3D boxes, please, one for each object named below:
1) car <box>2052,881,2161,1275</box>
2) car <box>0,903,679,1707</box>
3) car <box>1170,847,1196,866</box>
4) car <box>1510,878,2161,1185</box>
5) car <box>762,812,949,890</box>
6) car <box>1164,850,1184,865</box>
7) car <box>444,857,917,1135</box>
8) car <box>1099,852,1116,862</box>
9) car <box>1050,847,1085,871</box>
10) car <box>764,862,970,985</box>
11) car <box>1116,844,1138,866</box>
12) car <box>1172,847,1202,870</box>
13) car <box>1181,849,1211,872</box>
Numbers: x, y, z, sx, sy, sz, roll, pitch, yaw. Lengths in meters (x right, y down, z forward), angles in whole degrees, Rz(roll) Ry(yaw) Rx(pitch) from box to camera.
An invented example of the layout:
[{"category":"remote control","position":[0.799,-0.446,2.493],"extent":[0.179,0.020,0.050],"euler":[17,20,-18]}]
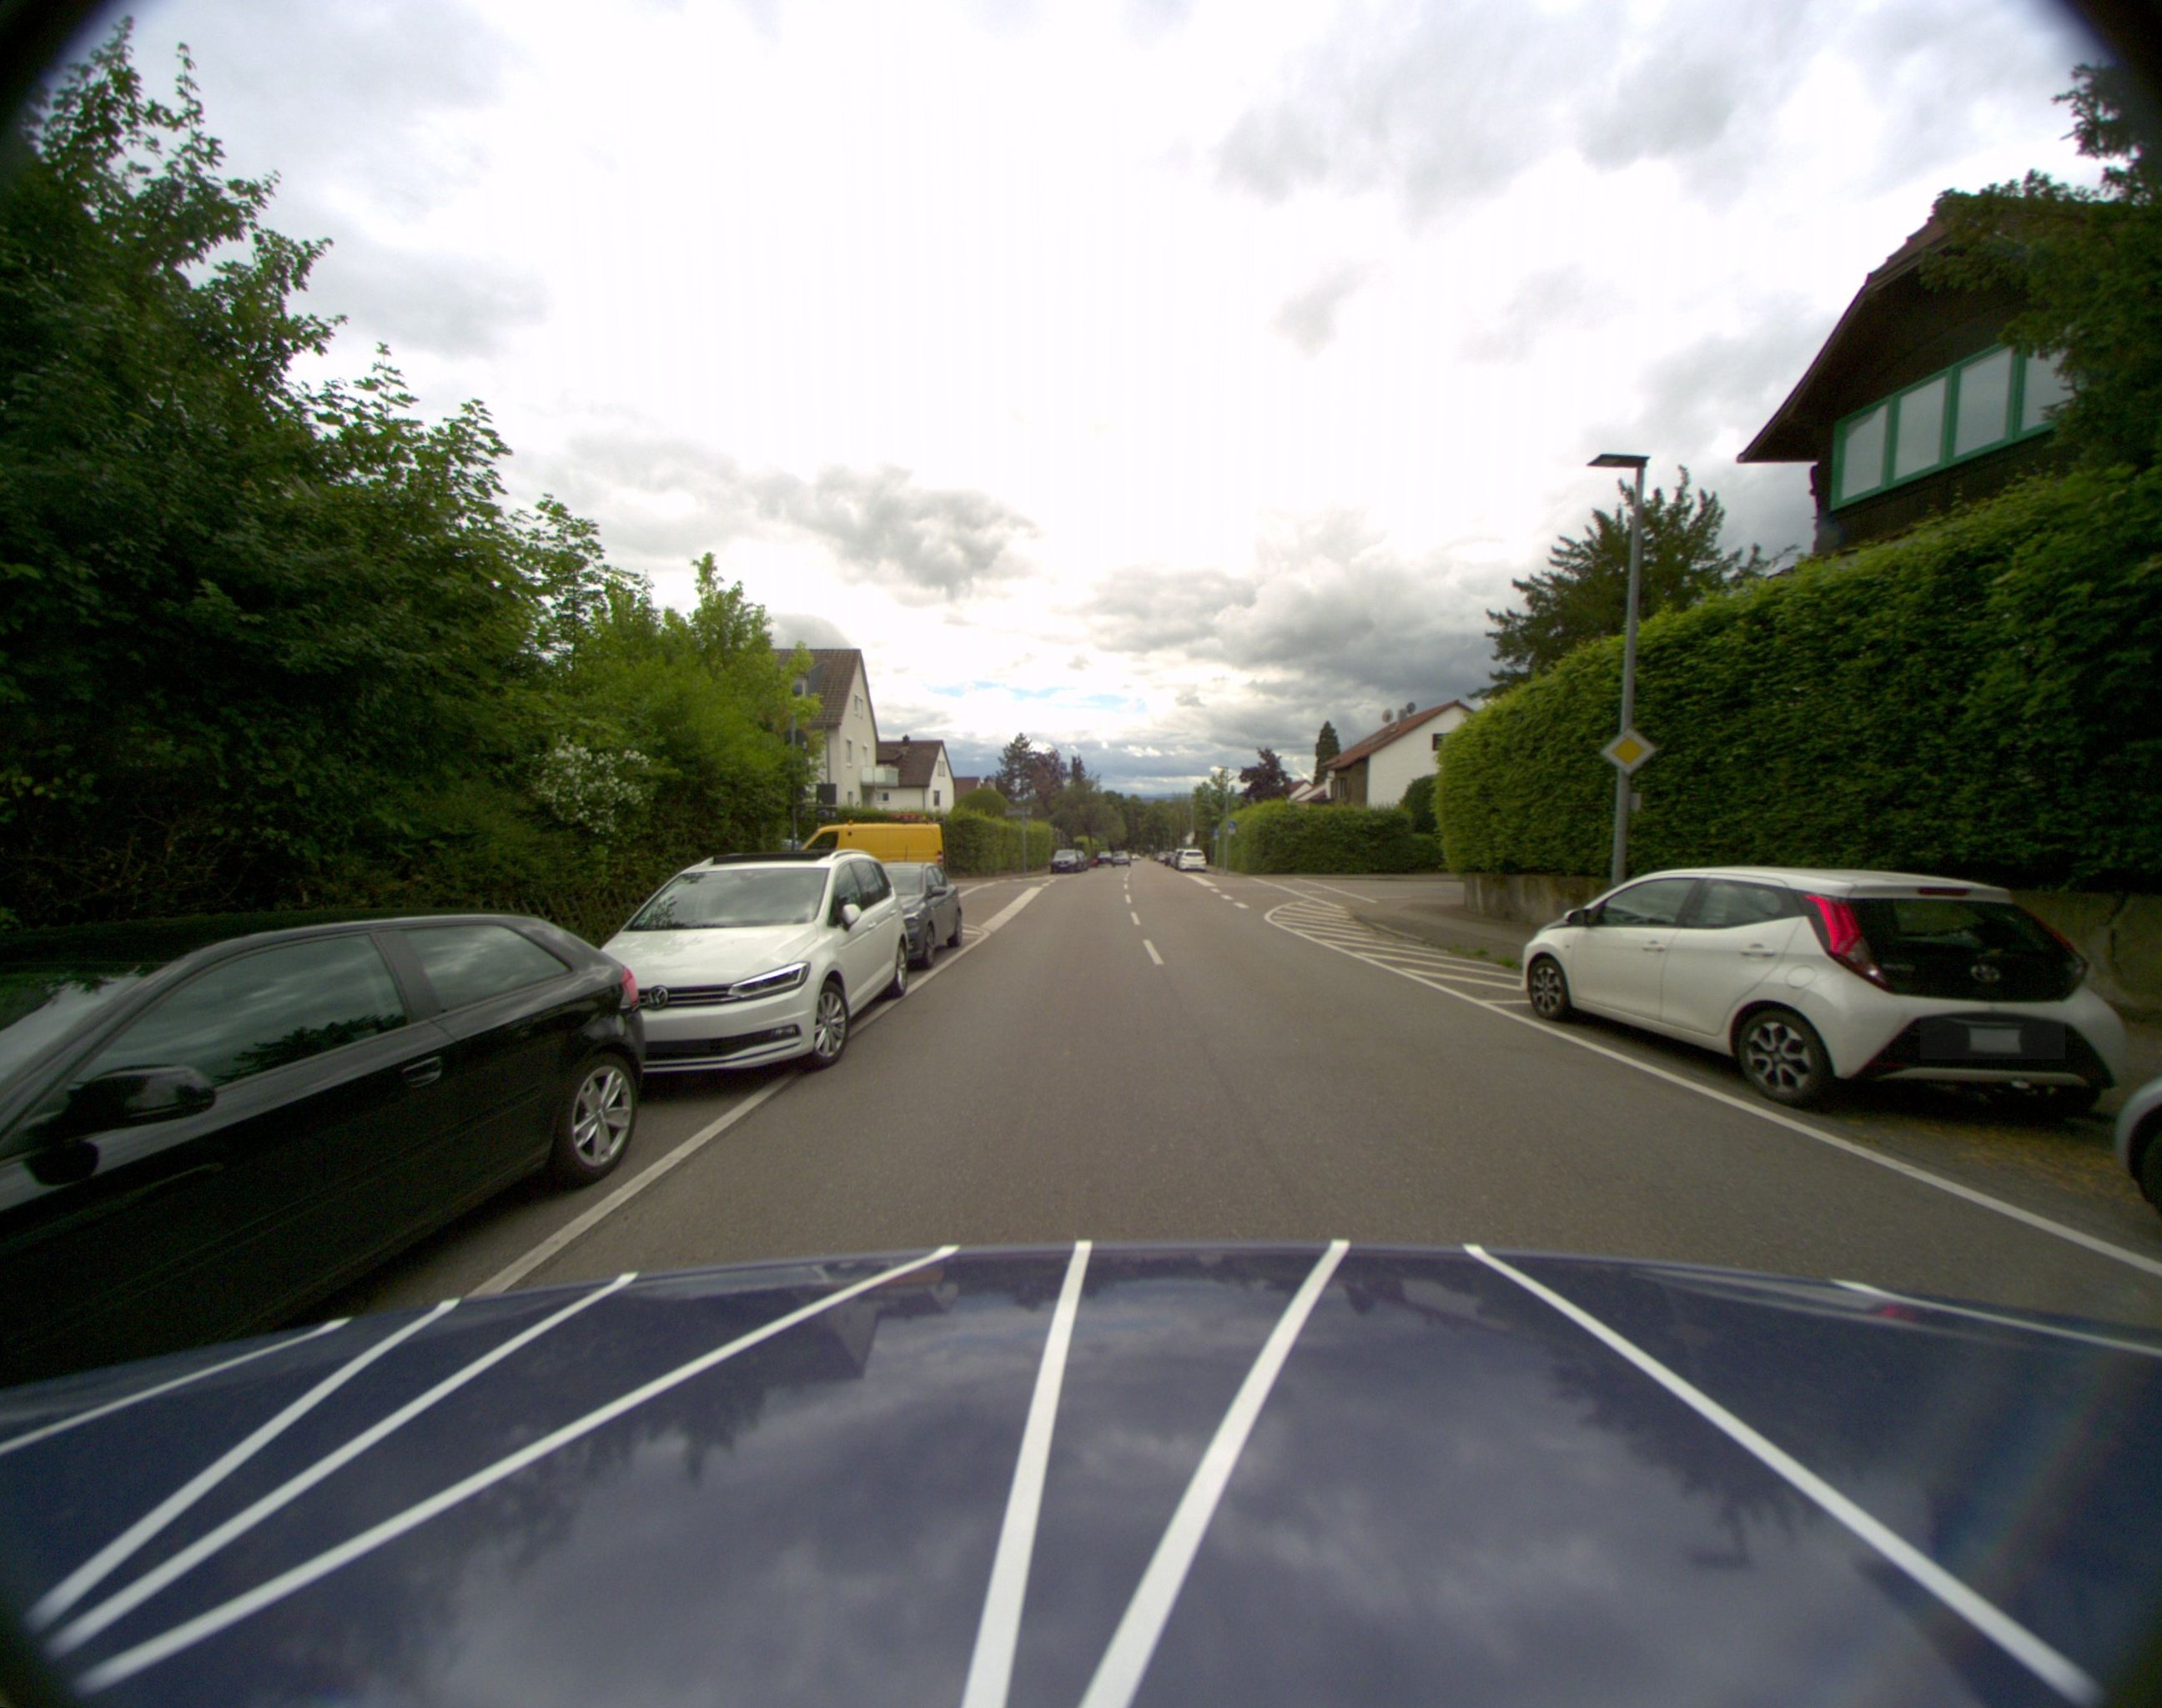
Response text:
[{"category":"car","position":[4.971,0.894,1.760],"extent":[1.628,1.510,2.975],"euler":[0,1,1]},{"category":"car","position":[-3.181,1.033,2.263],"extent":[1.815,1.444,4.376],"euler":[0,1,-3]},{"category":"car","position":[8.243,0.179,61.660],"extent":[1.890,1.481,4.343],"euler":[1,0,5]},{"category":"car","position":[5.097,0.988,5.725],"extent":[1.749,1.439,3.513],"euler":[1,1,1]},{"category":"car","position":[-7.973,-0.092,27.294],"extent":[6.147,2.586,2.364],"euler":[0,1,-16]},{"category":"car","position":[9.848,0.349,81.005],"extent":[1.944,1.540,4.007],"euler":[1,0,5]},{"category":"car","position":[-2.890,0.860,6.923],"extent":[2.006,1.599,4.756],"euler":[0,0,-3]},{"category":"car","position":[3.398,0.354,96.955],"extent":[1.998,1.221,4.001],"euler":[0,1,5]},{"category":"car","position":[-0.834,0.323,49.570],"extent":[1.794,1.480,4.380],"euler":[1,0,5]},{"category":"car","position":[-3.042,0.902,11.877],"extent":[1.942,1.483,4.456],"euler":[0,0,0]},{"category":"car","position":[4.433,0.086,73.147],"extent":[1.998,2.002,4.000],"euler":[0,1,4]},{"category":"car","position":[7.698,0.296,55.480],"extent":[1.785,1.481,4.740],"euler":[3,1,5]},{"category":"car","position":[7.607,0.399,50.344],"extent":[1.693,1.411,3.580],"euler":[2,1,5]}]
